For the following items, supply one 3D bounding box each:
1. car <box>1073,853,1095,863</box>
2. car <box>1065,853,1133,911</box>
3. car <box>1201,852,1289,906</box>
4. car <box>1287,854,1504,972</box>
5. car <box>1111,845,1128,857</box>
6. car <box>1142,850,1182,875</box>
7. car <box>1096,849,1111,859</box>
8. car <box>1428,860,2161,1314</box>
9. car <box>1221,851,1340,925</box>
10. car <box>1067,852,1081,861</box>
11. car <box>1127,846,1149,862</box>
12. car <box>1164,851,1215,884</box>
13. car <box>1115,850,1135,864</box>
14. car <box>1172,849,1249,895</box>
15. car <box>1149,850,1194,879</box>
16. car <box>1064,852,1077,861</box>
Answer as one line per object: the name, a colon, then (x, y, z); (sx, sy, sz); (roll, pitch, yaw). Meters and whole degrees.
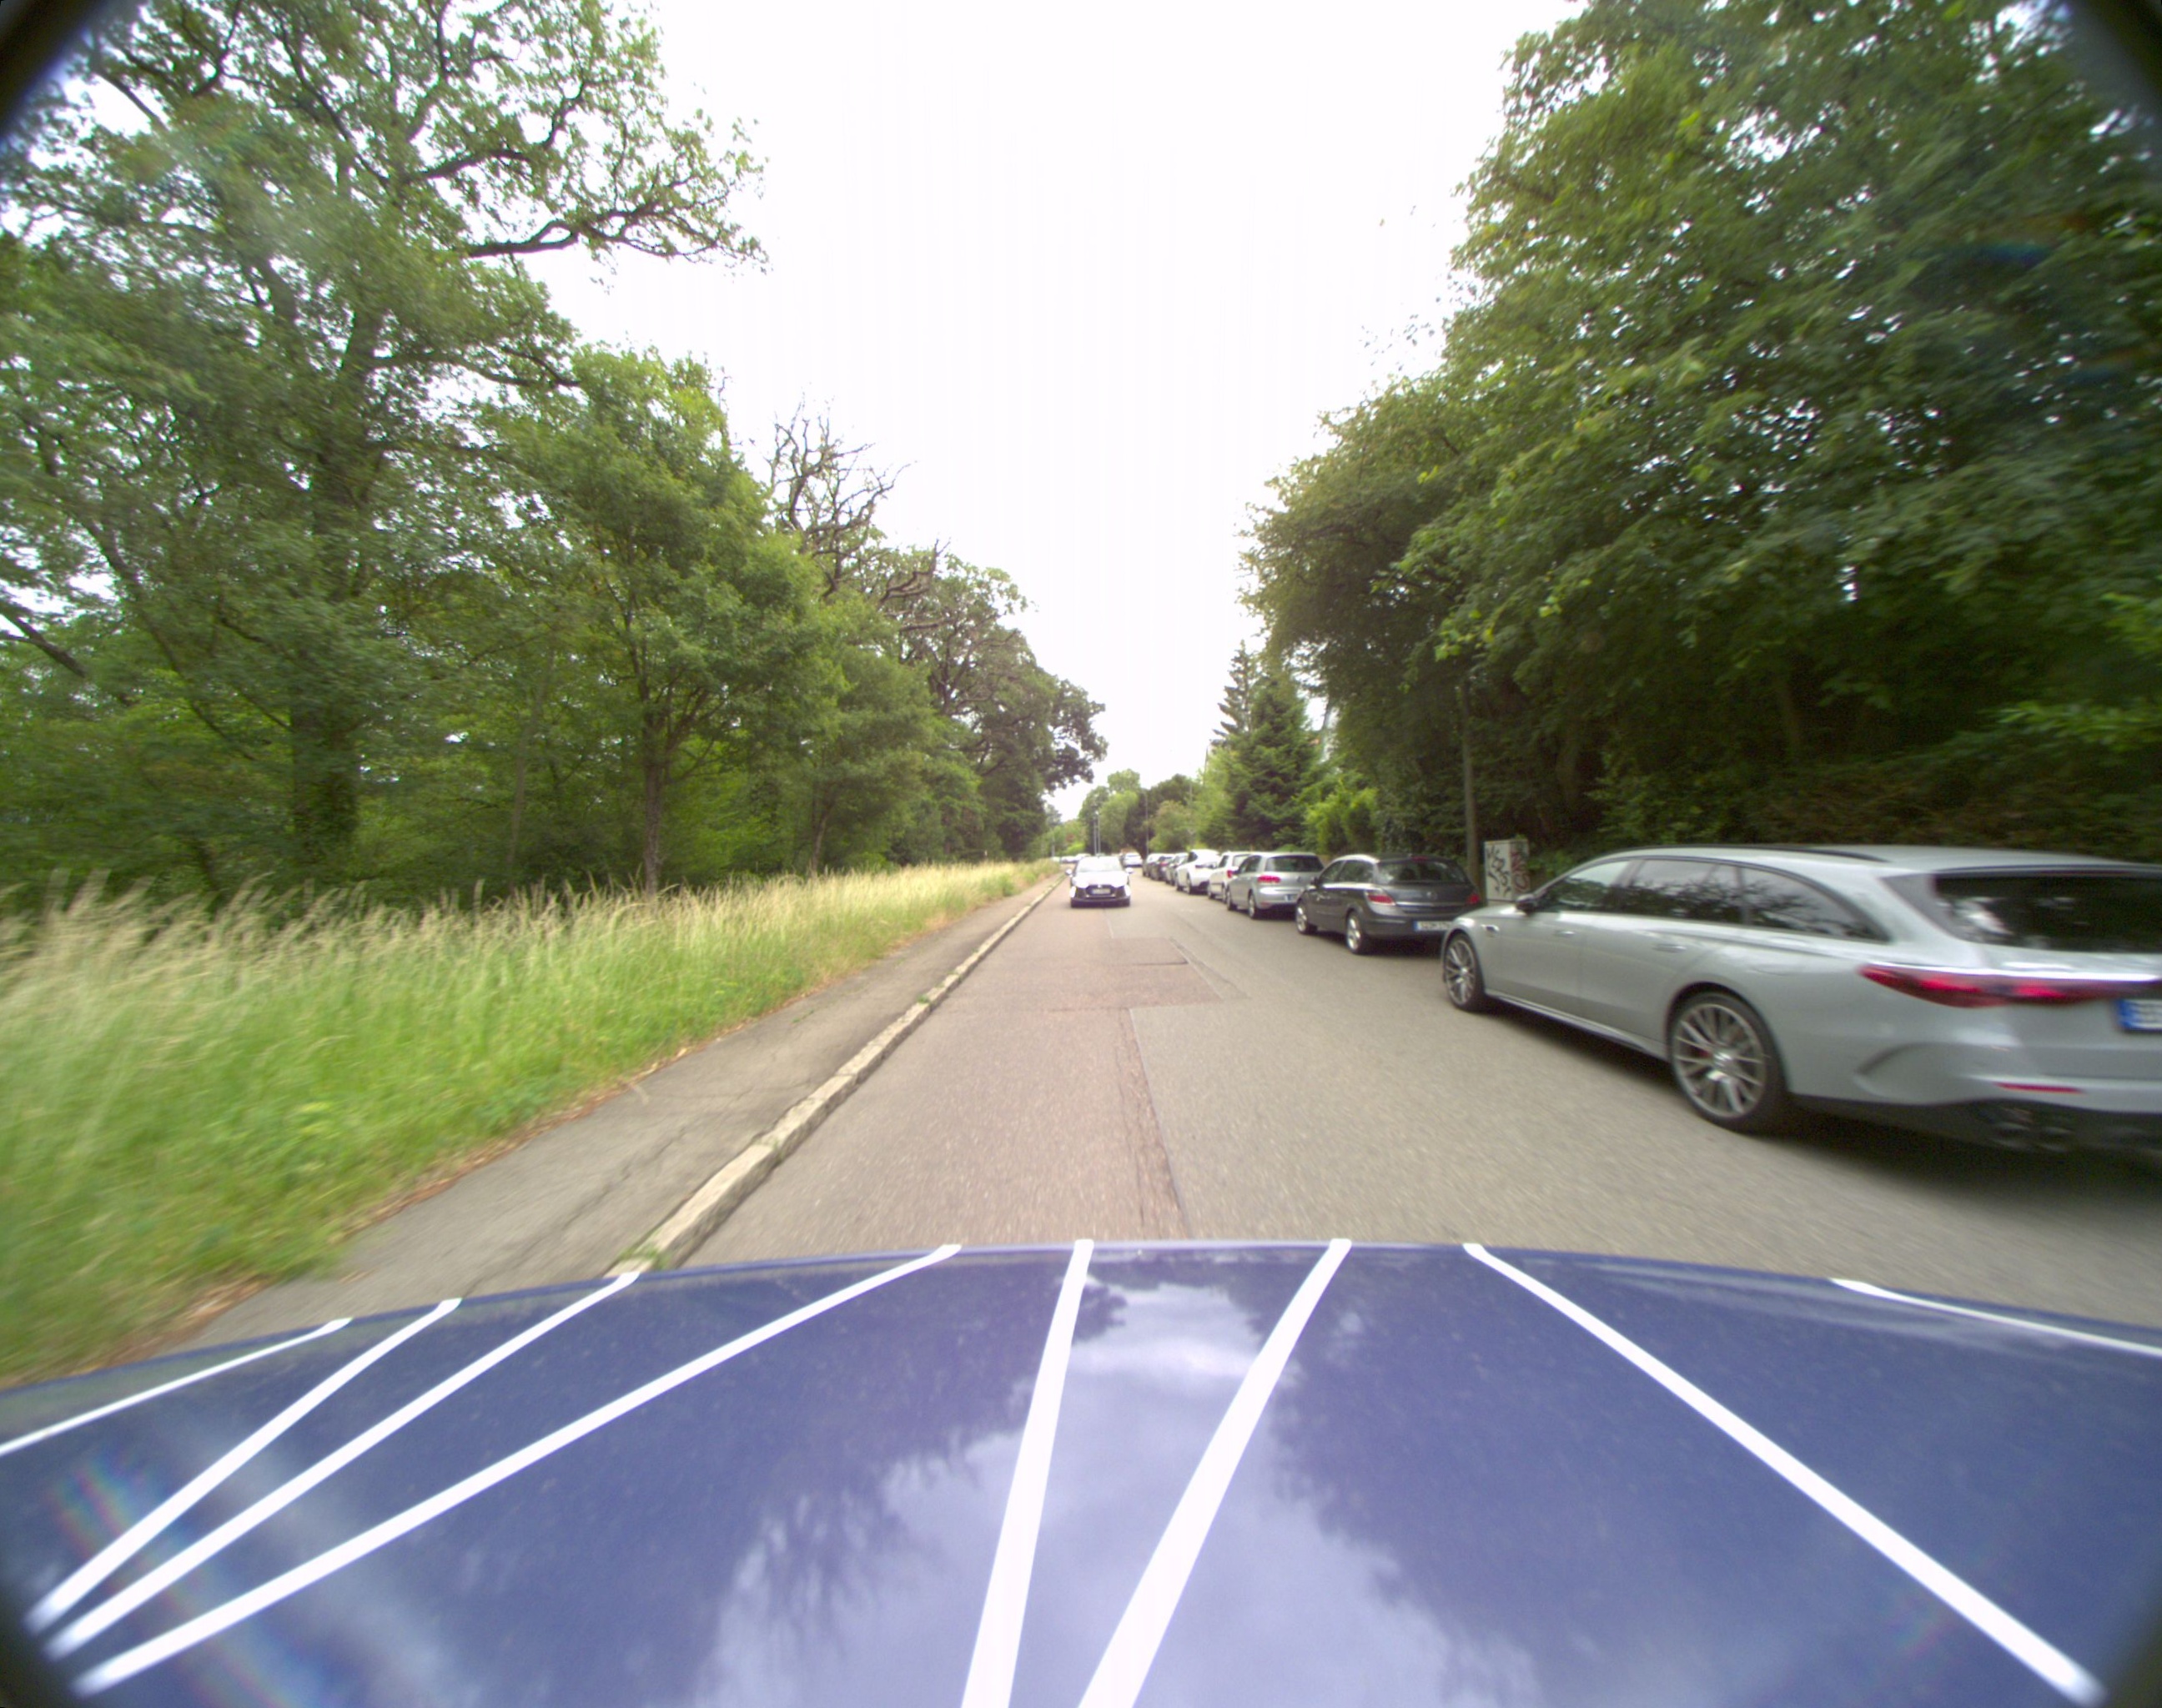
car: (0.596, 0.669, 132.927); (1.995, 1.678, 4.718); (-2, 0, 26)
car: (0.480, 0.757, 22.832); (1.788, 1.491, 4.014); (-3, 0, -1)
car: (4.837, 0.682, 22.969); (1.725, 1.496, 3.816); (0, 0, -2)
car: (4.654, 0.775, 11.960); (1.725, 1.496, 4.060); (0, 1, 0)
car: (4.829, -0.322, 96.307); (1.741, 1.431, 3.786); (-2, 0, -2)
car: (4.961, 0.469, 47.273); (1.853, 1.431, 4.909); (-1, 0, -1)
car: (3.410, -0.018, 115.440); (1.765, 1.441, 4.041); (-2, 0, -6)
car: (4.240, 0.839, 5.052); (1.802, 1.496, 4.863); (0, 1, 3)
car: (4.464, 0.691, 17.607); (1.724, 1.496, 4.008); (0, 1, 1)
car: (-1.495, 0.462, 153.132); (2.000, 1.678, 4.706); (-3, 0, -10)
car: (5.616, -0.001, 75.234); (1.788, 1.491, 4.014); (-2, 0, -1)
car: (5.006, 0.590, 35.566); (1.839, 1.431, 4.116); (0, 1, 1)
car: (4.919, 0.285, 85.299); (1.788, 1.431, 4.322); (-4, 0, -2)
car: (4.697, 0.603, 28.211); (1.921, 1.553, 4.603); (0, 0, -2)
car: (4.813, 0.524, 41.016); (1.739, 1.431, 4.261); (-1, 0, -2)
car: (-2.333, 0.578, 161.029); (2.000, 1.678, 4.706); (-3, 0, -10)
